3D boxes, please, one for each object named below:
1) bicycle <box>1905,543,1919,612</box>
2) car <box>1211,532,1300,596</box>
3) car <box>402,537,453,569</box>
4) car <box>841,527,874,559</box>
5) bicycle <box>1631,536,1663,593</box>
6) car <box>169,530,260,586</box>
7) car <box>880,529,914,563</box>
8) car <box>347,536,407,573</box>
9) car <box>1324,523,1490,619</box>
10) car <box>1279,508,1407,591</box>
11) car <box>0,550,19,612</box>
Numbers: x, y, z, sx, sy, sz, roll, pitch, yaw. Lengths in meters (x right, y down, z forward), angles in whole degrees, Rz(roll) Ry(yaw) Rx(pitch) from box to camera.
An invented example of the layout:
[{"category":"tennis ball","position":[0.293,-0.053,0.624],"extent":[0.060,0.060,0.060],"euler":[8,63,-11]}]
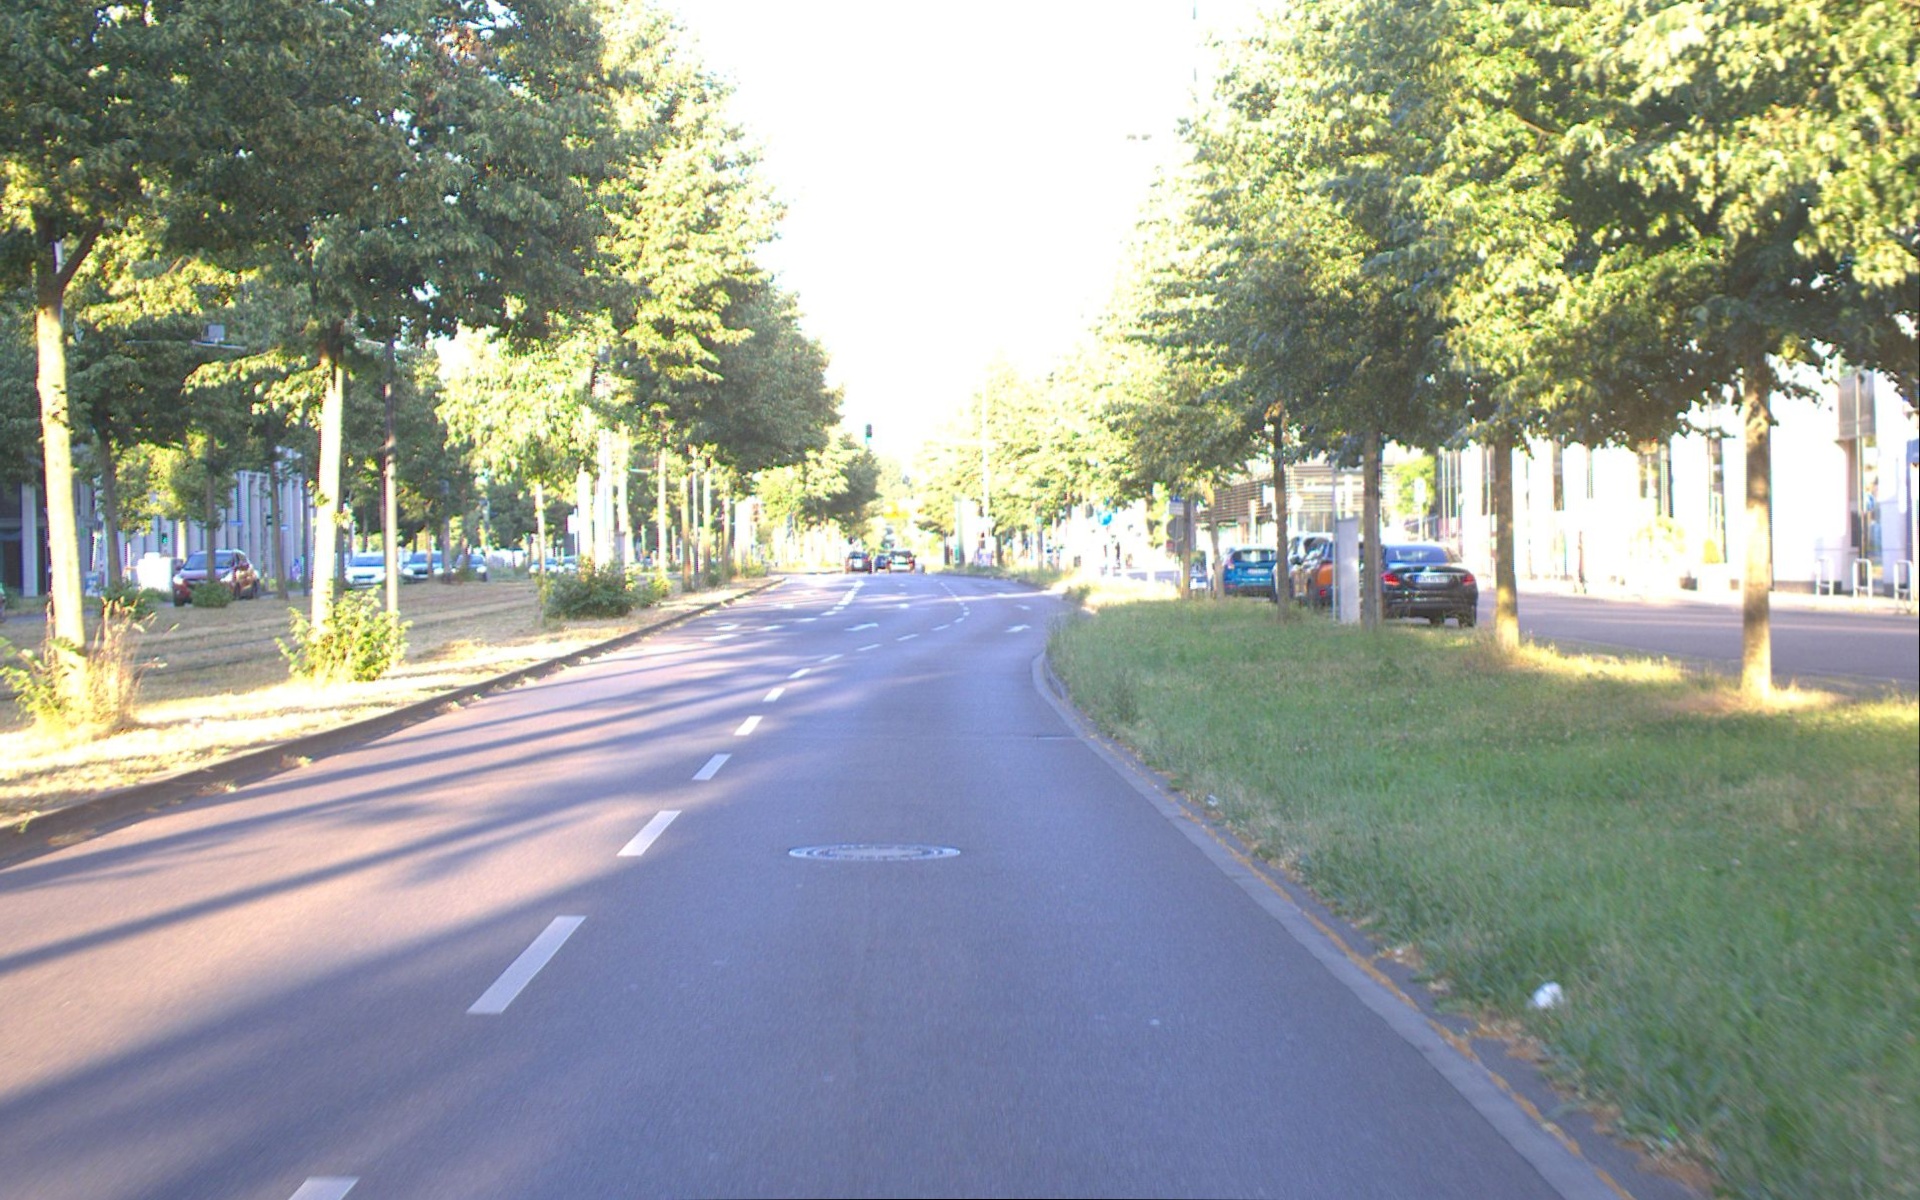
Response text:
[{"category":"bicycle","position":[14.849,-0.333,51.769],"extent":[0.652,1.035,2.055],"euler":[-1,1,-1]},{"category":"car","position":[7.269,-0.906,84.781],"extent":[1.724,1.524,4.269],"euler":[1,1,-1]},{"category":"car","position":[-23.145,-2.061,149.430],"extent":[1.657,1.327,4.742],"euler":[-1,1,-3]},{"category":"car","position":[-6.620,-3.693,222.514],"extent":[2.087,2.007,4.001],"euler":[-1,1,-2]},{"category":"bicycle","position":[14.454,-0.754,72.328],"extent":[0.571,1.120,1.833],"euler":[-3,1,10]},{"category":"car","position":[-21.713,-1.226,100.248],"extent":[1.885,1.572,4.183],"euler":[-1,1,-3]},{"category":"car","position":[-3.802,-3.275,207.232],"extent":[1.993,2.007,4.001],"euler":[-1,1,-2]},{"category":"car","position":[-21.863,-1.703,129.067],"extent":[1.657,1.327,4.531],"euler":[-1,1,-3]},{"category":"car","position":[7.551,-0.512,58.528],"extent":[1.943,1.543,4.812],"euler":[-1,1,-3]},{"category":"car","position":[7.318,-0.973,66.056],"extent":[1.854,1.524,4.483],"euler":[1,1,-1]},{"category":"car","position":[-24.327,-0.441,83.316],"extent":[1.918,1.503,4.287],"euler":[-1,1,-1]}]
